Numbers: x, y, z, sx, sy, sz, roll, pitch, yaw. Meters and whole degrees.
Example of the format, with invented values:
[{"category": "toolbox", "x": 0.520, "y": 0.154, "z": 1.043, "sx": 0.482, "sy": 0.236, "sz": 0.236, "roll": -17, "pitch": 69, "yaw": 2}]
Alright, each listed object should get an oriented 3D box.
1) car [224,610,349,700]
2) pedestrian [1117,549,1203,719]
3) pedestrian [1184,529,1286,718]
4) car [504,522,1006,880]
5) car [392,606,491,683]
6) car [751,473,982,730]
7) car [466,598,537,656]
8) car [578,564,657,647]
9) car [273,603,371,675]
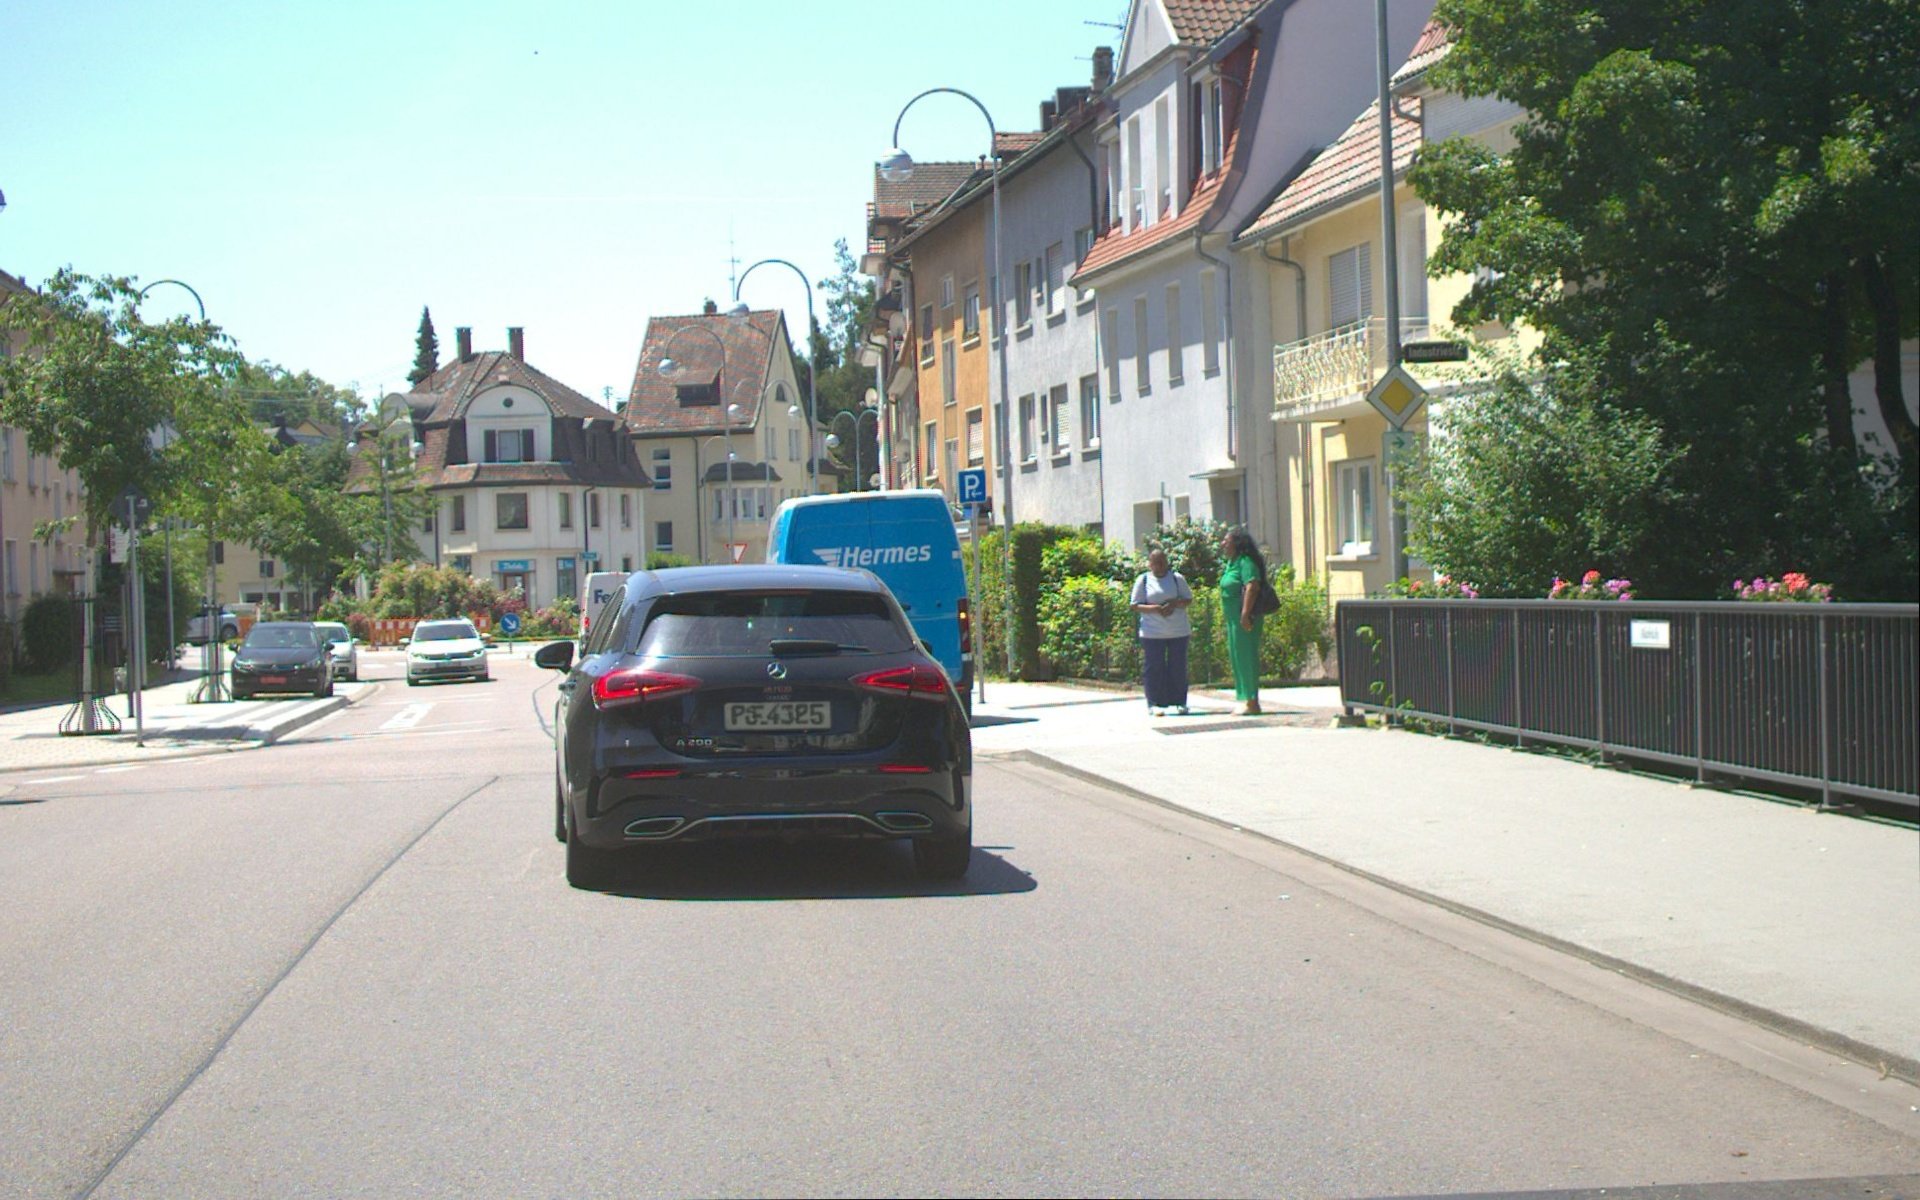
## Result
[{"category": "car", "x": -13.043, "y": 1.043, "z": 66.791, "sx": 1.993, "sy": 1.654, "sz": 4.001, "roll": 0, "pitch": 0, "yaw": -6}, {"category": "pedestrian", "x": 1.929, "y": 0.320, "z": 33.243, "sx": 0.613, "sy": 1.607, "sz": 0.838, "roll": -2, "pitch": 0, "yaw": -10}, {"category": "pedestrian", "x": 2.581, "y": 0.213, "z": 32.328, "sx": 0.660, "sy": 1.735, "sz": 0.702, "roll": -2, "pitch": 0, "yaw": -23}, {"category": "car", "x": -1.114, "y": 0.497, "z": 16.462, "sx": 1.827, "sy": 1.437, "sz": 4.000, "roll": -2, "pitch": -2, "yaw": -11}, {"category": "car", "x": -11.697, "y": 0.985, "z": 77.774, "sx": 1.993, "sy": 1.654, "sz": 4.001, "roll": 0, "pitch": 0, "yaw": -6}, {"category": "car", "x": -1.083, "y": -0.004, "z": 37.013, "sx": 2.132, "sy": 2.532, "sz": 4.650, "roll": -2, "pitch": 1, "yaw": -5}, {"category": "car", "x": -13.886, "y": 0.805, "z": 104.237, "sx": 1.993, "sy": 1.654, "sz": 4.001, "roll": 0, "pitch": 0, "yaw": -6}, {"category": "car", "x": -10.121, "y": 0.120, "z": 101.547, "sx": 2.244, "sy": 2.335, "sz": 4.854, "roll": 0, "pitch": 1, "yaw": -6}, {"category": "car", "x": -15.449, "y": 0.925, "z": 83.404, "sx": 1.993, "sy": 1.654, "sz": 4.001, "roll": 0, "pitch": 0, "yaw": -6}]
